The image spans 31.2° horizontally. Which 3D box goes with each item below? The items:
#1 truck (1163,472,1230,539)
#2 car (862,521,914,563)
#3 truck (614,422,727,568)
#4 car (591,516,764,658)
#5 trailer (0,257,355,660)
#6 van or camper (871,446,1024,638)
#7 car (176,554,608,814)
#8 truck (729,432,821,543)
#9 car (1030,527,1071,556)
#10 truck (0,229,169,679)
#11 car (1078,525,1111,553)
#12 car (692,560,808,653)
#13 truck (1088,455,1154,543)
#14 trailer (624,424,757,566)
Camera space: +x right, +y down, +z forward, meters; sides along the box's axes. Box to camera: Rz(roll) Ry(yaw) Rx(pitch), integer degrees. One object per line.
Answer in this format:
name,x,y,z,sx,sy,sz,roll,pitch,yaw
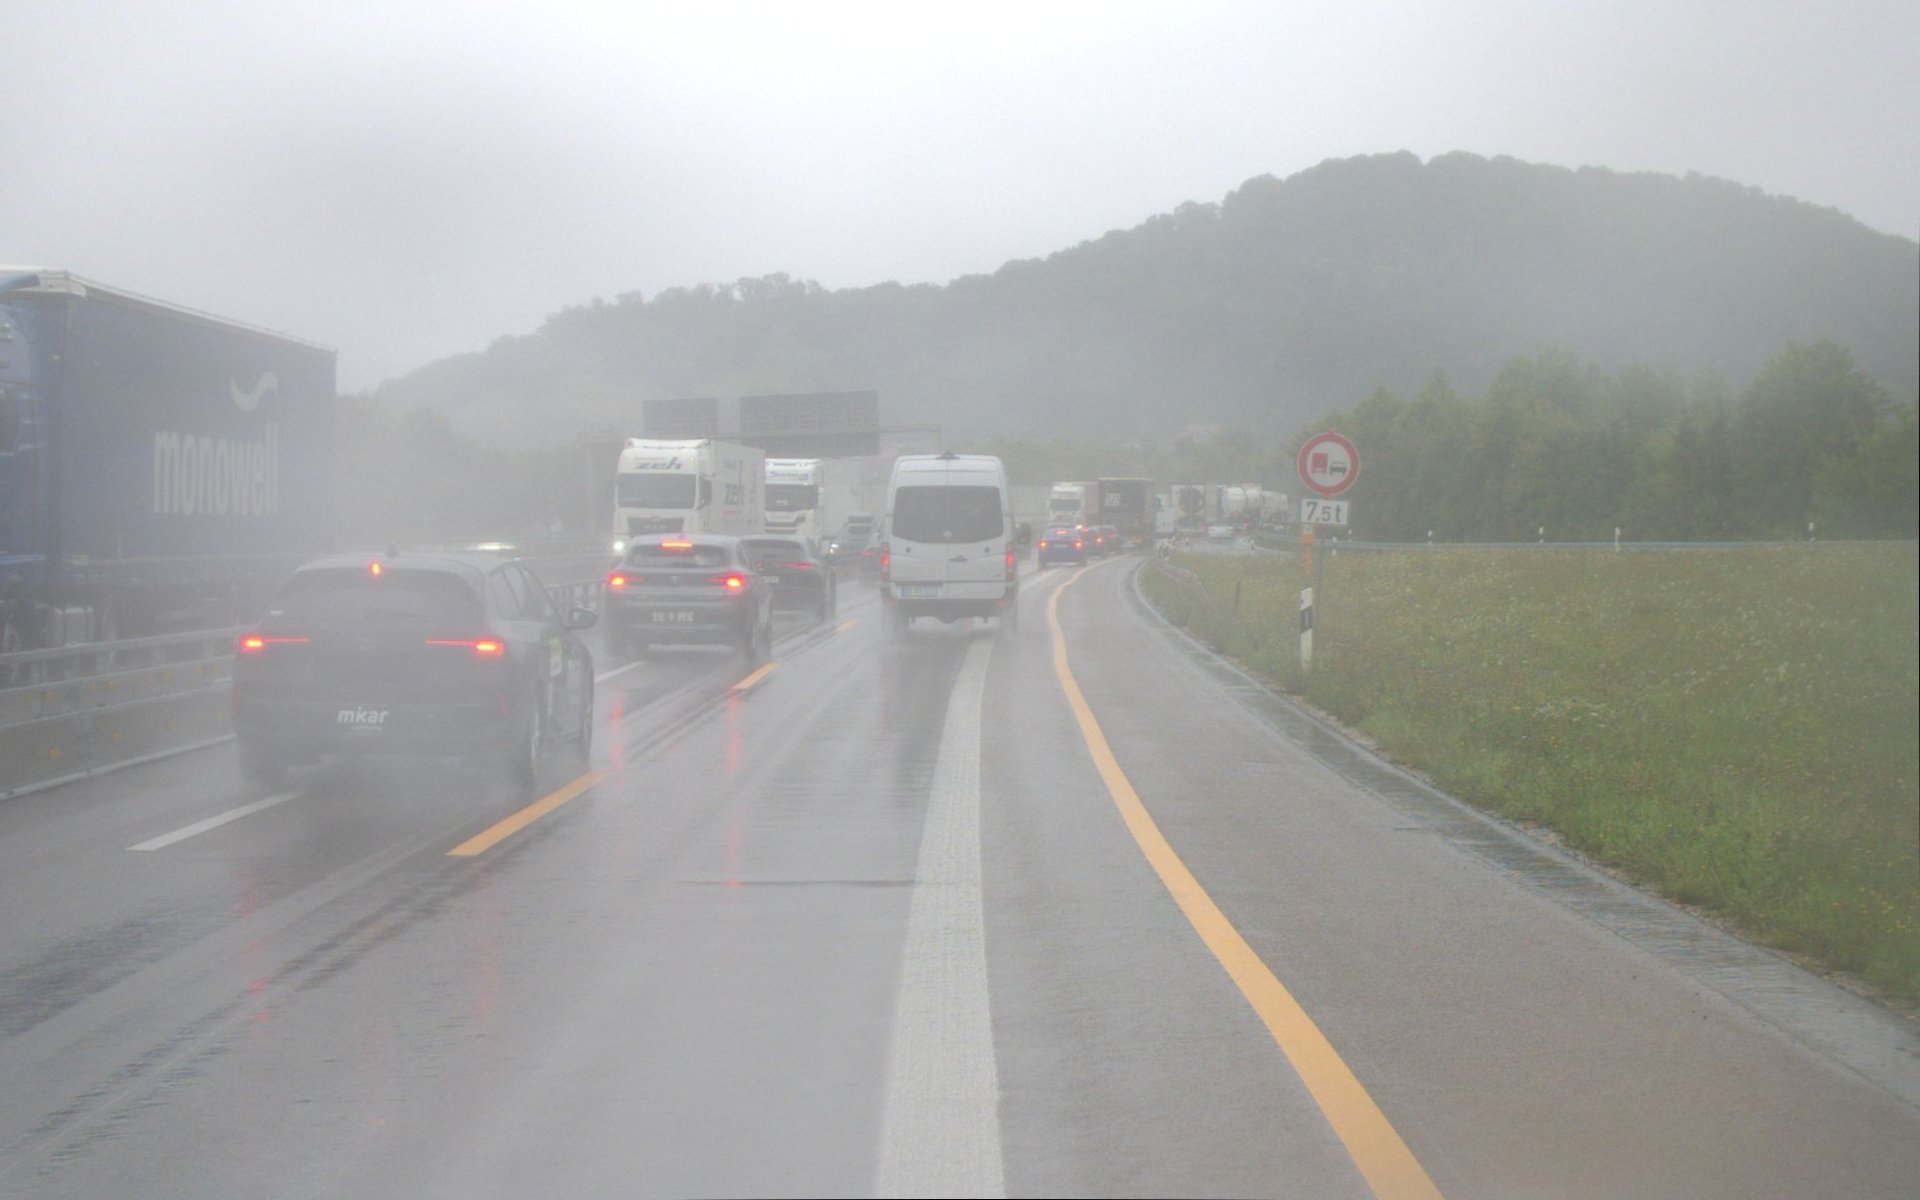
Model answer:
truck,17.559,-6.954,254.498,3.930,4.768,9.903,2,1,9
car,-1.859,-1.510,89.685,1.262,1.074,3.255,0,1,0
truck,-8.249,-3.019,98.659,2.483,4.017,6.448,1,2,2
car,-3.416,-0.190,42.180,1.867,1.653,3.988,0,1,-1
trailer,-9.782,-1.540,40.984,2.600,4.063,12.432,1,1,2
van or camper,-0.236,-0.863,51.106,2.139,2.712,4.649,0,1,-2
car,-3.483,0.447,21.973,1.939,1.422,4.760,1,1,0
truck,-6.913,-4.226,129.254,2.883,4.087,6.926,0,2,2
car,3.438,-2.245,131.445,1.384,1.074,3.123,0,1,-2
truck,-9.952,-1.408,33.894,2.624,4.067,6.669,1,2,1
car,6.054,-2.742,155.103,1.384,1.252,3.123,0,1,1
car,-3.571,0.082,58.996,1.852,1.495,4.001,0,1,-2
truck,9.184,-5.678,195.025,3.321,4.768,9.905,2,1,5
trailer,-8.043,-3.204,104.289,2.494,4.035,12.587,0,2,2
